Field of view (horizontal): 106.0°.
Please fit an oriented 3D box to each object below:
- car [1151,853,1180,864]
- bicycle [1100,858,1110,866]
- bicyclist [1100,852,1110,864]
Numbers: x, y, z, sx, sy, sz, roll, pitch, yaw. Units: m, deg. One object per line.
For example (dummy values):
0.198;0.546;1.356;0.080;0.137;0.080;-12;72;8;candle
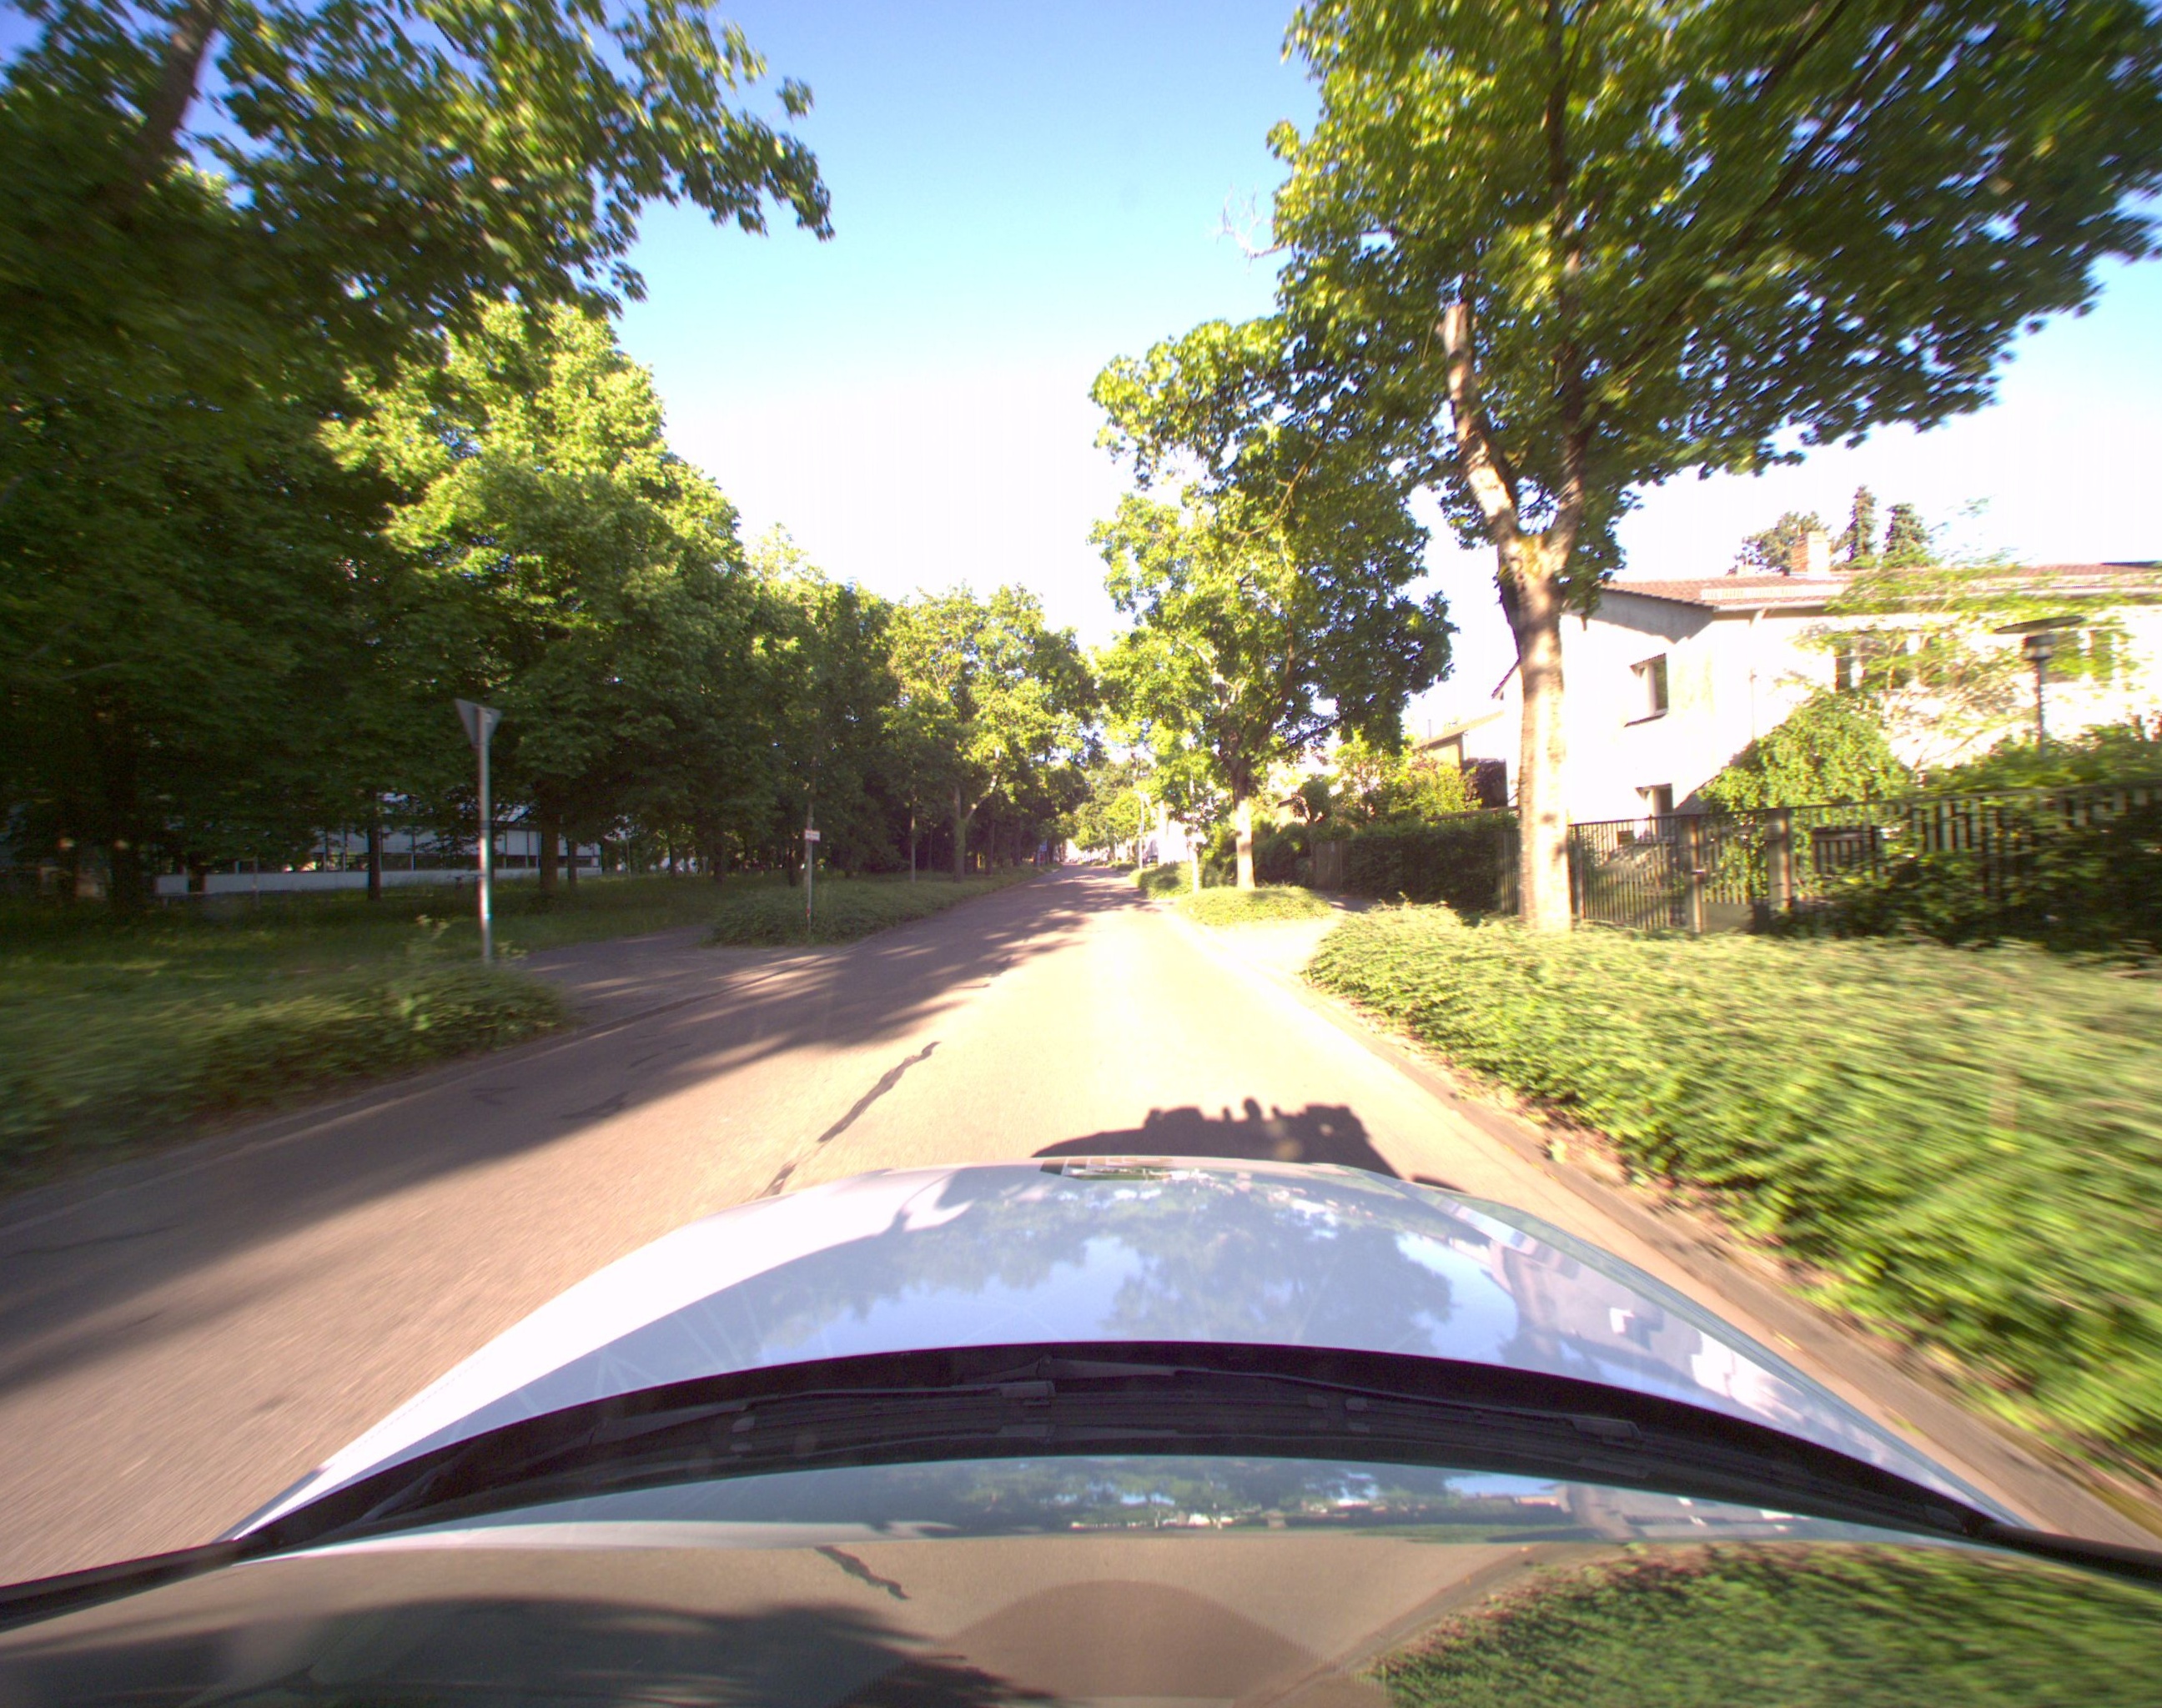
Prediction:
13.221;0.704;127.041;4.327;1.353;2.148;2;3;6;car
3.342;1.084;112.567;0.434;0.978;1.672;-1;1;35;bicycle
3.342;0.551;112.504;0.858;1.641;1.122;0;1;35;bicyclist
